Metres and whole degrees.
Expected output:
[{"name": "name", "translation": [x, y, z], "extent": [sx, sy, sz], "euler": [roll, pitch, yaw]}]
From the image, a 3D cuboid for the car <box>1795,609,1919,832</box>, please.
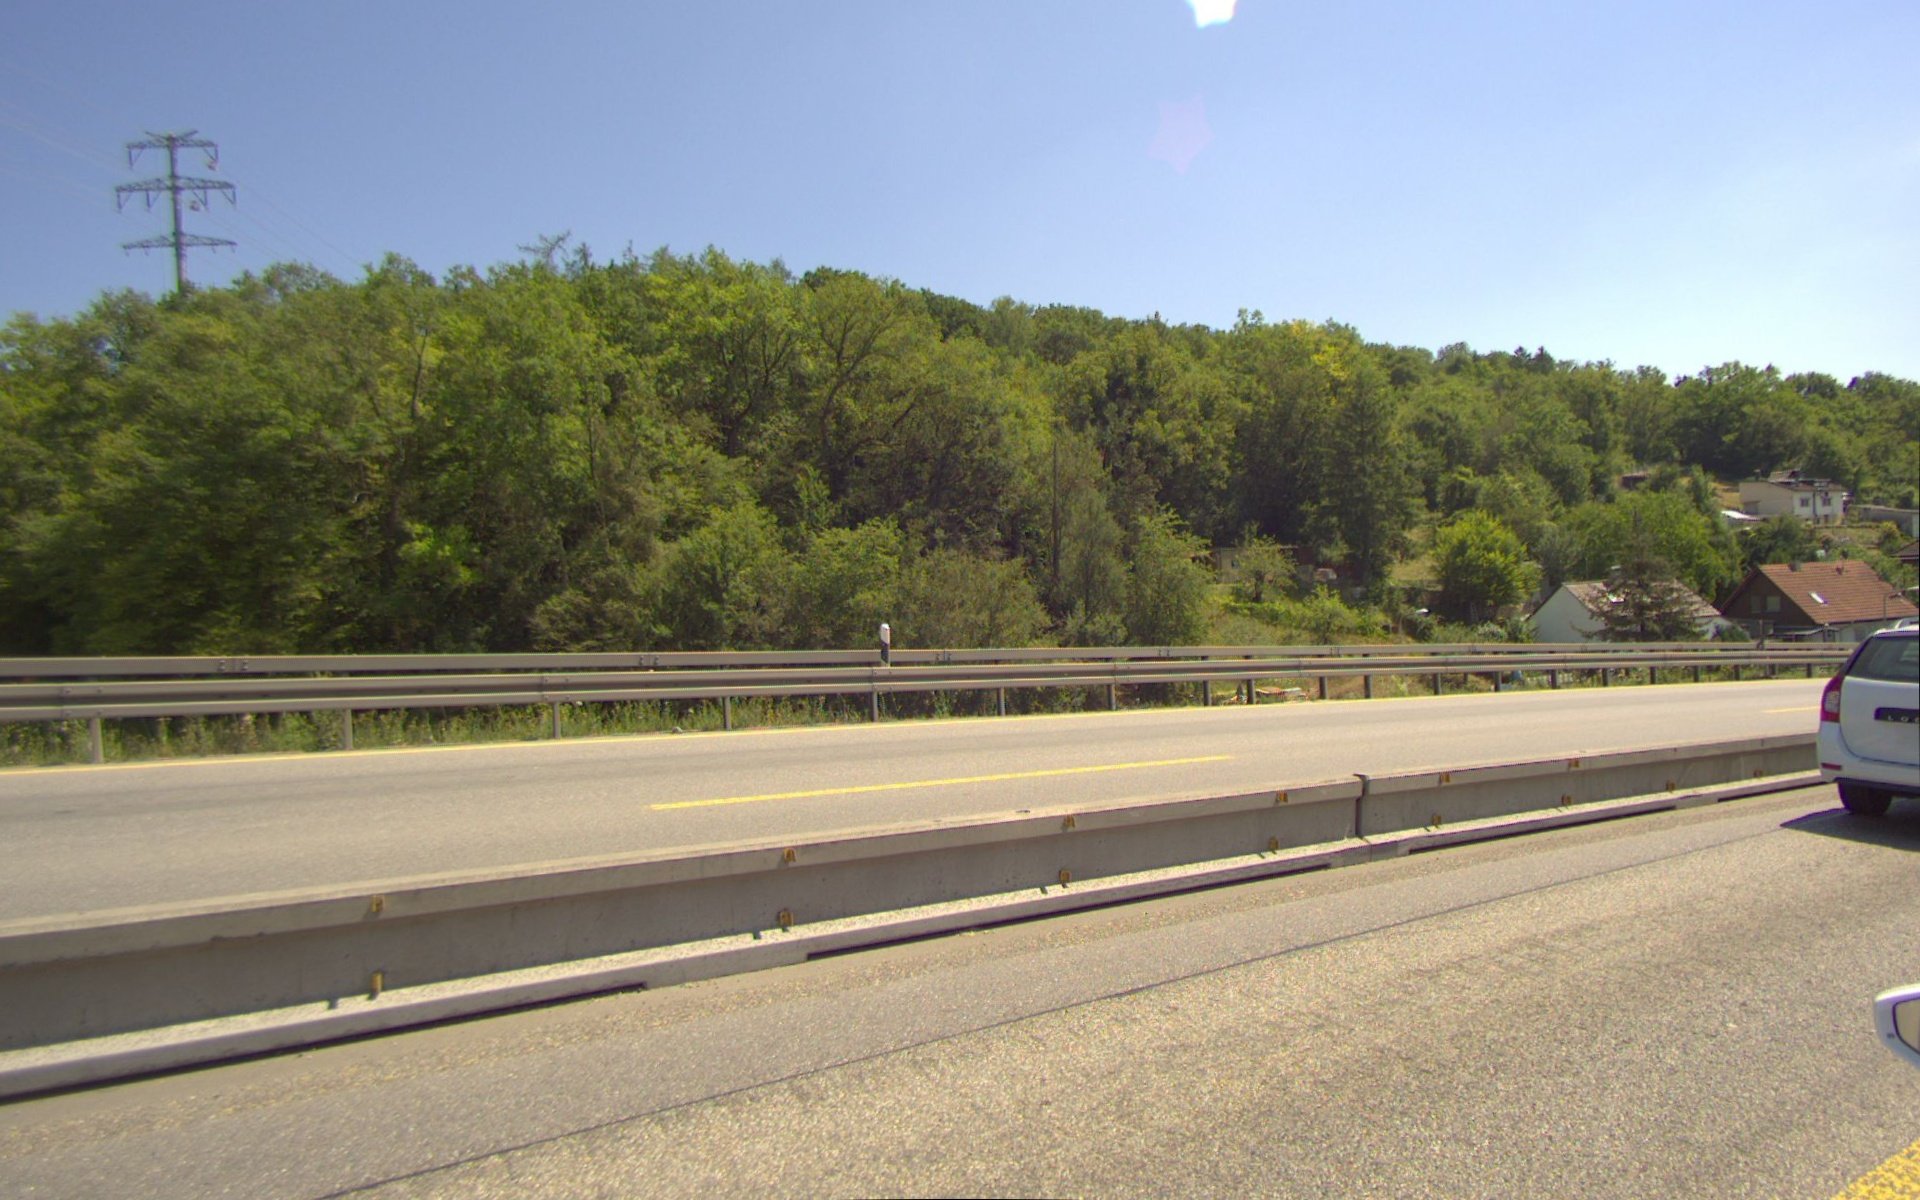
[{"name": "car", "translation": [8.375, 0.867, 7.718], "extent": [4.216, 1.503, 1.644], "euler": [2, -3, -30]}]
